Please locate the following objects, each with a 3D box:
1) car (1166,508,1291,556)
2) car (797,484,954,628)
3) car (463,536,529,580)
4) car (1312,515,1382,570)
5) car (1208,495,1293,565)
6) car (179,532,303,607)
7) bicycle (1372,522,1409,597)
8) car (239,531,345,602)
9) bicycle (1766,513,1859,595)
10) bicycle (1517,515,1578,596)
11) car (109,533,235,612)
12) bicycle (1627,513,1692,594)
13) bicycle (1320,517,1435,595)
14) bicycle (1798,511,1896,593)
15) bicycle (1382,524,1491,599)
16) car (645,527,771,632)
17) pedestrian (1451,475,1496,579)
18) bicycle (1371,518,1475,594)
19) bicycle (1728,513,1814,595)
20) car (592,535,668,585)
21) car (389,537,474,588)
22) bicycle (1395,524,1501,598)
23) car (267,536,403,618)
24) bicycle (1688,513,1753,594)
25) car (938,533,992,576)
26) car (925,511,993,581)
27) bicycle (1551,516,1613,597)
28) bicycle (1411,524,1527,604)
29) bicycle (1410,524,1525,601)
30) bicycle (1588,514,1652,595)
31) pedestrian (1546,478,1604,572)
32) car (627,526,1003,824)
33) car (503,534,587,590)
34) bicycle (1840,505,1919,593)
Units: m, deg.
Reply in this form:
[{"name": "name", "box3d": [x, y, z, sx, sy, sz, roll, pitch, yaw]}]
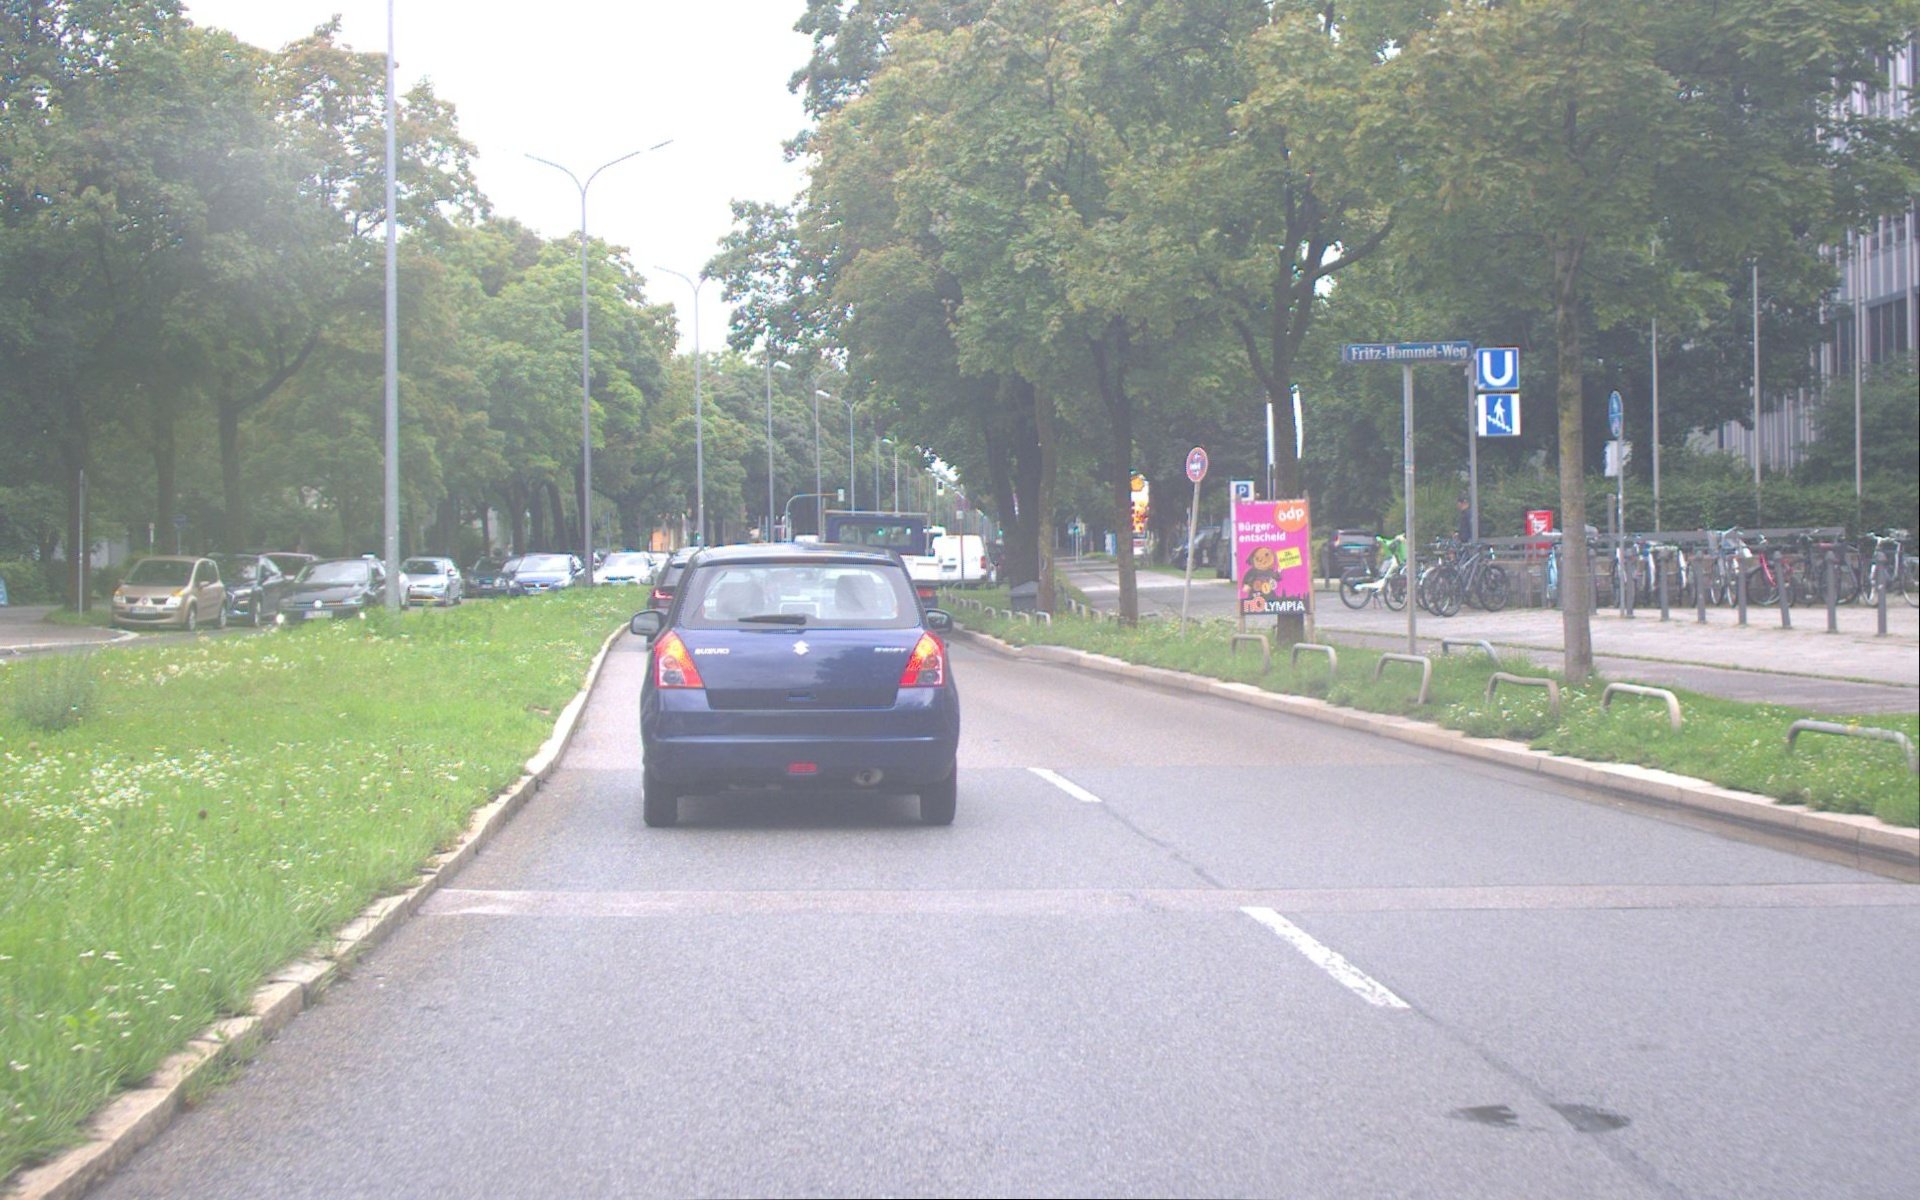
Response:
[{"name": "car", "box3d": [12.051, -3.069, 154.466, 5.470, 2.076, 2.147, -1, 1, 1]}, {"name": "car", "box3d": [-1.450, -0.808, 61.347, 2.419, 2.435, 5.086, 1, 1, 3]}, {"name": "car", "box3d": [-15.903, -1.462, 117.930, 1.580, 1.418, 4.363, 2, 1, 0]}, {"name": "car", "box3d": [13.355, -1.995, 118.832, 1.842, 1.812, 4.472, -1, 1, -1]}, {"name": "car", "box3d": [9.965, -2.400, 118.328, 2.264, 2.299, 6.269, -1, 1, -1]}, {"name": "car", "box3d": [-16.439, -0.720, 78.808, 1.739, 1.638, 4.684, 1, 1, 1]}, {"name": "bicycle", "box3d": [7.638, -0.726, 61.048, 0.530, 1.222, 1.861, -3, 3, 5]}, {"name": "car", "box3d": [-16.392, -0.841, 84.549, 1.739, 1.646, 4.607, 1, 1, -1]}, {"name": "bicycle", "box3d": [12.646, -0.689, 51.073, 0.511, 1.185, 2.142, -1, 1, -10]}, {"name": "bicycle", "box3d": [8.813, -0.679, 51.637, 0.487, 1.185, 1.954, -1, 1, -2]}, {"name": "car", "box3d": [-16.695, -0.602, 72.995, 1.647, 1.608, 3.819, 1, 1, 3]}, {"name": "bicycle", "box3d": [10.518, -0.713, 51.753, 0.487, 1.185, 1.954, -1, 1, -2]}, {"name": "bicycle", "box3d": [7.088, -0.751, 58.285, 1.948, 1.185, 0.597, -5, 3, -33]}, {"name": "bicycle", "box3d": [13.276, -0.726, 51.494, 0.577, 1.185, 2.142, -1, 1, -10]}, {"name": "bicycle", "box3d": [7.615, -0.616, 54.884, 1.949, 1.062, 0.580, -6, 2, -44]}, {"name": "car", "box3d": [-3.848, -0.335, 52.136, 1.799, 1.494, 3.661, -2, 1, -5]}, {"name": "pedestrian", "box3d": [9.416, -1.339, 63.077, 0.651, 1.893, 0.749, -1, 1, -3]}, {"name": "bicycle", "box3d": [7.748, -0.747, 57.512, 1.949, 1.104, 0.580, -7, 5, -43]}, {"name": "bicycle", "box3d": [12.077, -0.695, 51.246, 0.445, 1.185, 2.142, -1, 1, -10]}, {"name": "car", "box3d": [-10.525, -1.293, 109.843, 1.915, 1.479, 4.865, -1, 1, 0]}, {"name": "car", "box3d": [-16.029, -1.151, 104.422, 1.736, 1.443, 4.823, 2, 1, 1]}, {"name": "bicycle", "box3d": [8.016, -0.645, 56.406, 1.949, 1.079, 0.597, -6, 4, -44]}, {"name": "car", "box3d": [-11.478, -0.454, 63.406, 1.782, 1.401, 4.102, -1, 1, -1]}, {"name": "bicycle", "box3d": [11.382, -0.703, 51.490, 0.445, 1.185, 1.954, -1, 1, -2]}, {"name": "car", "box3d": [0.181, -1.561, 117.391, 1.702, 1.392, 4.233, -1, 1, 1]}, {"name": "car", "box3d": [-0.005, -1.771, 111.164, 1.987, 2.150, 5.555, -1, 1, 1]}, {"name": "bicycle", "box3d": [9.333, -0.668, 51.671, 0.487, 1.185, 1.954, -1, 1, -2]}, {"name": "bicycle", "box3d": [7.785, -0.551, 52.508, 2.027, 1.095, 0.580, -5, 1, -44]}, {"name": "bicycle", "box3d": [7.978, -0.591, 53.997, 2.035, 1.085, 0.604, -4, 0, -44]}, {"name": "bicycle", "box3d": [9.914, -0.694, 51.681, 0.487, 1.185, 1.954, -1, 1, -2]}, {"name": "pedestrian", "box3d": [11.317, -1.388, 63.268, 0.784, 1.708, 0.749, 0, 1, 35]}, {"name": "car", "box3d": [-0.796, 0.345, 19.325, 1.896, 1.494, 3.660, 1, 1, -2]}, {"name": "car", "box3d": [-10.926, -1.019, 90.745, 1.691, 1.397, 3.968, -2, 1, 0]}, {"name": "bicycle", "box3d": [14.014, -0.777, 51.741, 0.508, 1.290, 2.479, -1, 1, -10]}]
